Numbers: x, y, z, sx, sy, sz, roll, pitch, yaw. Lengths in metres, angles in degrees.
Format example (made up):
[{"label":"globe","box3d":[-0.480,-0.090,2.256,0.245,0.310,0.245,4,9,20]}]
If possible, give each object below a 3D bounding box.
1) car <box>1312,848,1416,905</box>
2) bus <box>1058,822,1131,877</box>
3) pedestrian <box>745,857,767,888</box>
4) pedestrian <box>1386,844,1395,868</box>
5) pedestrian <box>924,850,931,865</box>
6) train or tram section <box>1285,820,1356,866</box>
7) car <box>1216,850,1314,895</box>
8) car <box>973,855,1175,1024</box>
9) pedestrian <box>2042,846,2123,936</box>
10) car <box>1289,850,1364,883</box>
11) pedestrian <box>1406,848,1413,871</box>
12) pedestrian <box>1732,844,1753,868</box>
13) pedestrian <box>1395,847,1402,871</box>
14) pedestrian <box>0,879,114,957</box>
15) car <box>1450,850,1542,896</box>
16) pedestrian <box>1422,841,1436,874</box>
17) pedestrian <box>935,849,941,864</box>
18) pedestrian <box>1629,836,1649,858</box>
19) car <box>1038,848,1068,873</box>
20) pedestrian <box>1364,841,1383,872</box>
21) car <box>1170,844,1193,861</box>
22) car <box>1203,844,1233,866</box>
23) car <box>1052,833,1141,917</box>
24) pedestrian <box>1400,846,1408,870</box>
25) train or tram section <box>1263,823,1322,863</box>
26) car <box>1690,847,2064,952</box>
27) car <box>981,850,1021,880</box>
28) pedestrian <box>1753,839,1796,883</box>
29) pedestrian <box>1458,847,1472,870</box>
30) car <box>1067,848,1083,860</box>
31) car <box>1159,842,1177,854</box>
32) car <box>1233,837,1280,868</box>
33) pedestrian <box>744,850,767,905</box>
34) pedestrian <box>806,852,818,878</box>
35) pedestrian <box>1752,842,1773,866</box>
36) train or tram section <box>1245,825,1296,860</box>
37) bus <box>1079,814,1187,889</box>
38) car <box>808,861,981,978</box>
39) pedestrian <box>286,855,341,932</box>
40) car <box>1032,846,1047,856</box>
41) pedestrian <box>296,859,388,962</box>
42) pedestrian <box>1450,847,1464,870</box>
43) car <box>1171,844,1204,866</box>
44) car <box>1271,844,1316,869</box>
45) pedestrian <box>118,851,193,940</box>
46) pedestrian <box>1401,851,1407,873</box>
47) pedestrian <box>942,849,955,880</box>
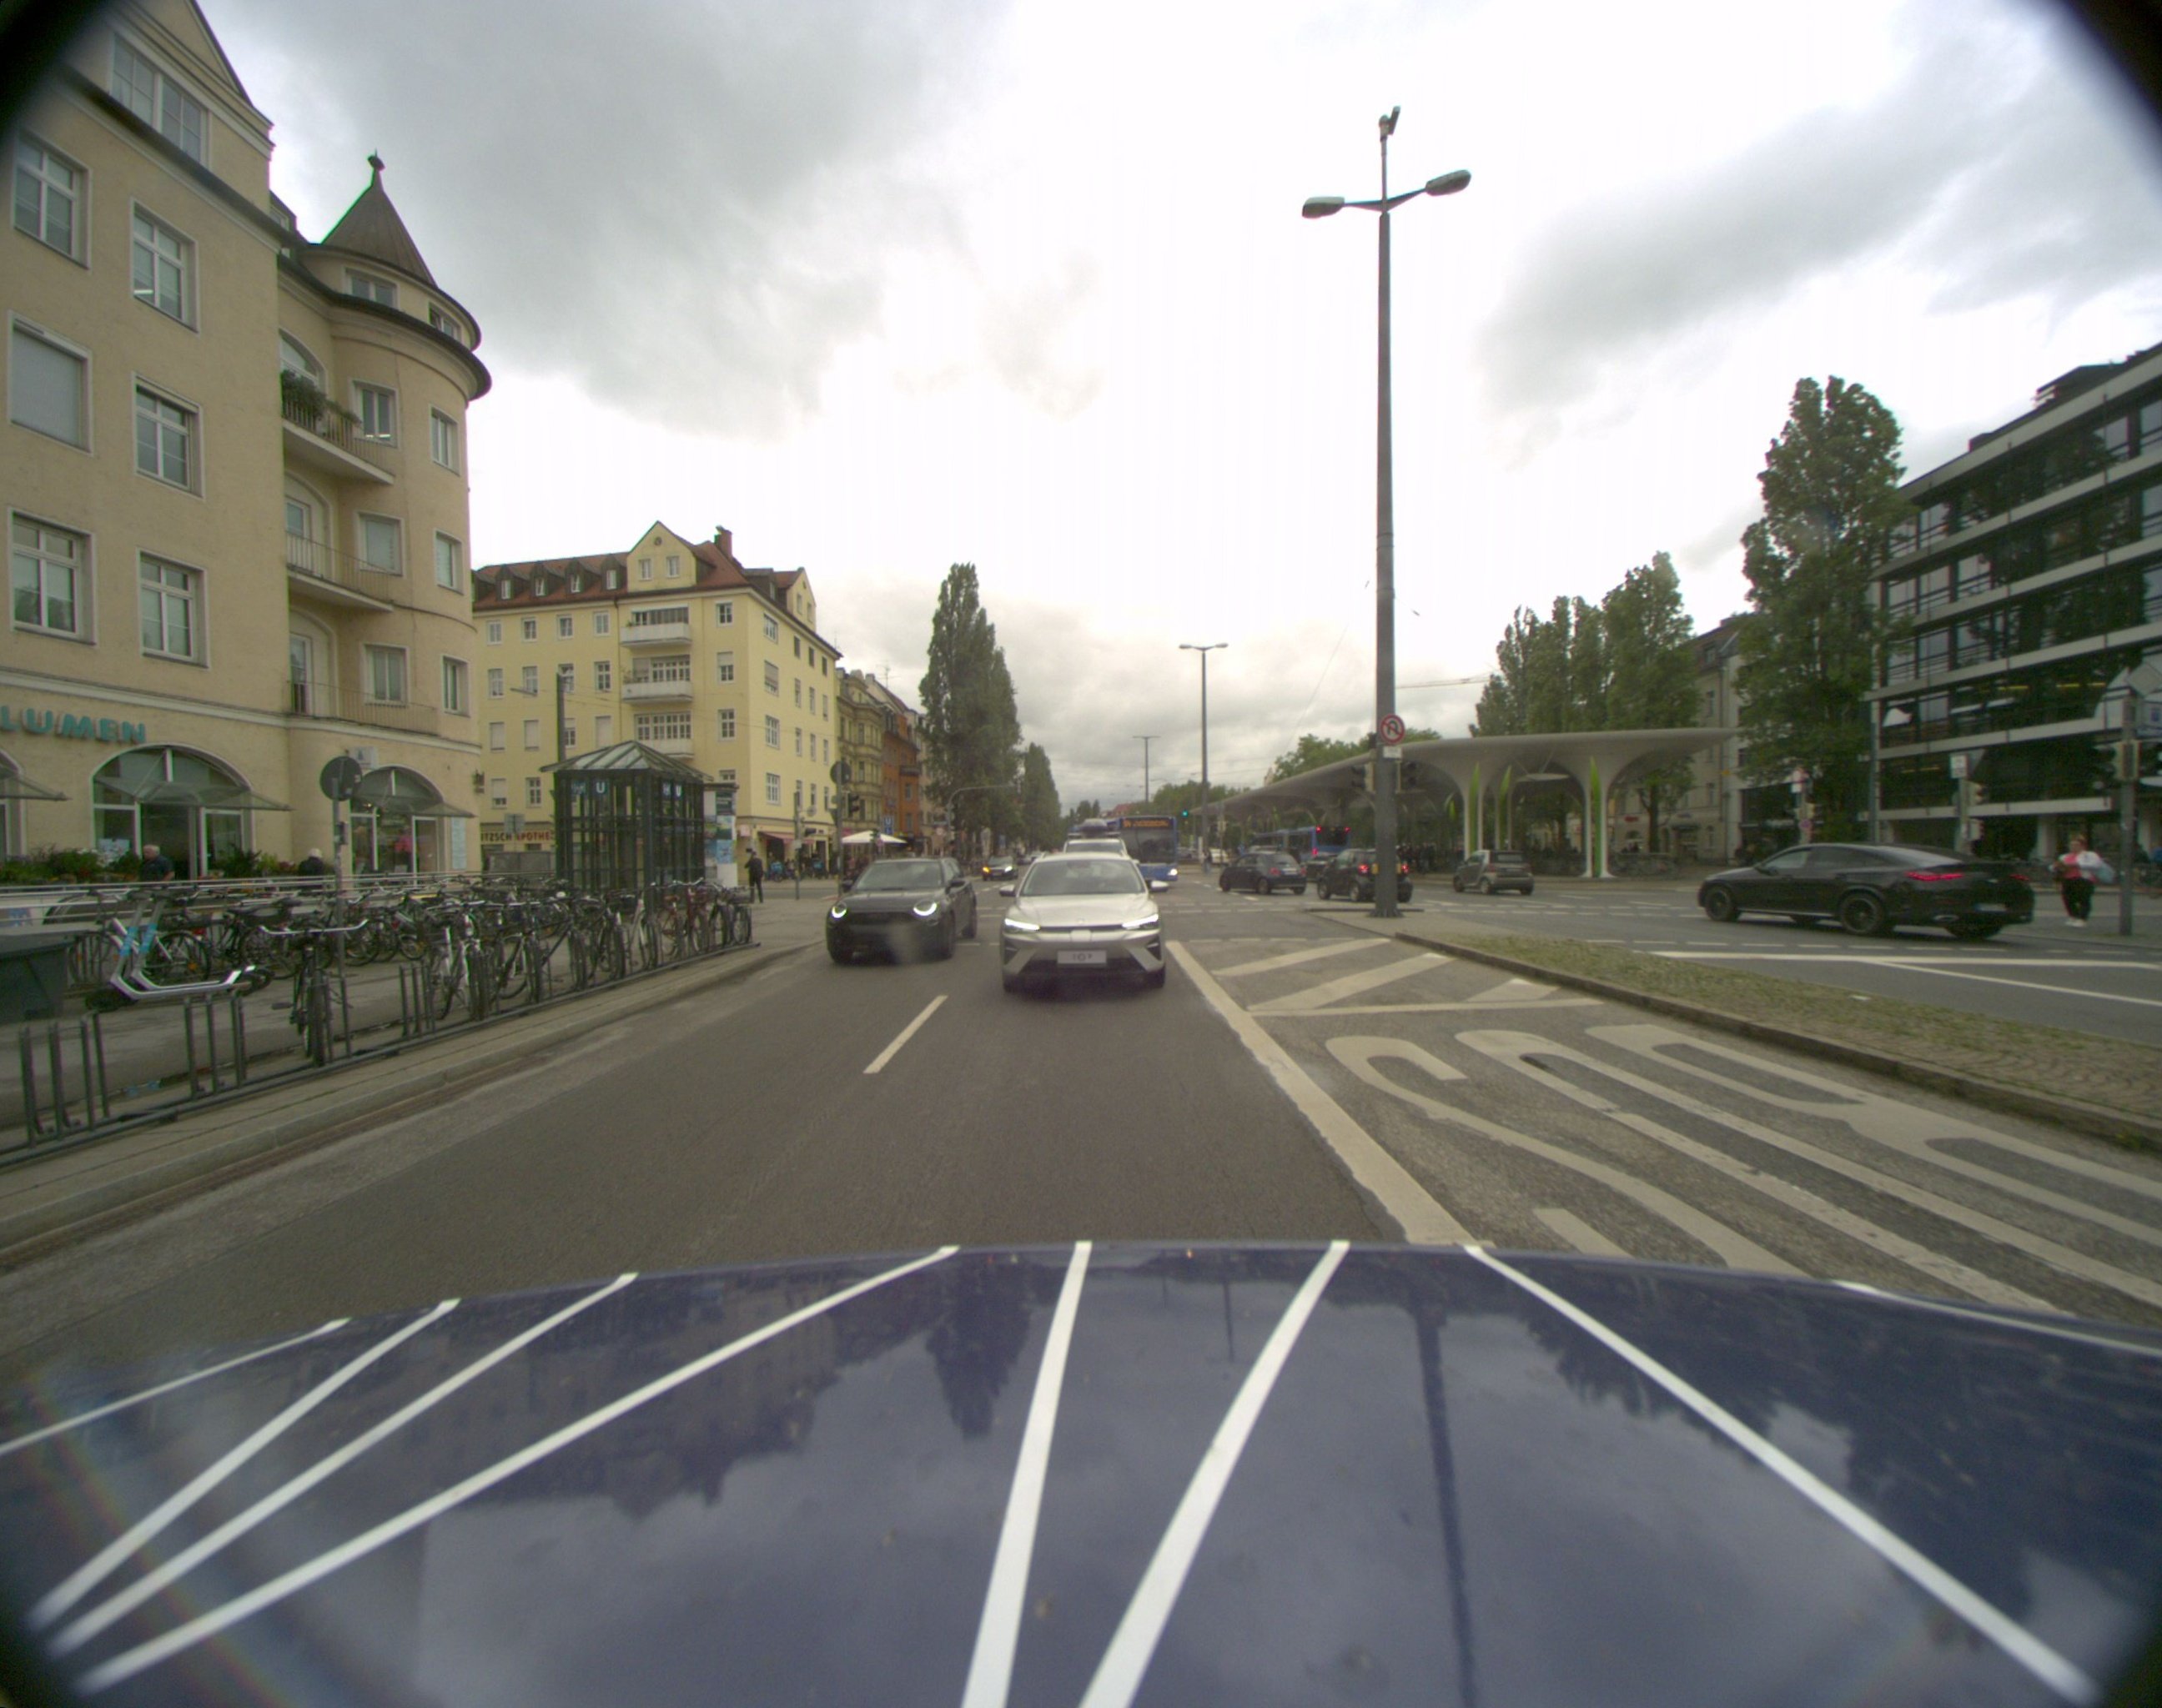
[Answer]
[{"label":"car","box3d":[8.153,0.605,22.098,1.562,1.498,2.785,-1,1,-12]},{"label":"bus","box3d":[0.575,-0.348,47.673,2.943,2.927,11.204,-2,1,-7]},{"label":"pedestrian","box3d":[-17.280,0.969,40.433,0.714,1.558,0.832,-2,2,1]},{"label":"pedestrian","box3d":[19.004,0.133,46.685,0.426,1.494,0.490,0,1,34]},{"label":"pedestrian","box3d":[-16.839,0.348,83.334,0.552,1.675,0.585,0,1,2]},{"label":"train or tram section","box3d":[16.801,-0.740,53.853,2.840,2.983,7.407,-1,1,1]},{"label":"car","box3d":[6.386,0.595,26.696,1.630,1.471,3.381,0,0,-24]},{"label":"car","box3d":[-0.002,0.838,9.344,1.896,1.483,3.999,-2,1,2]},{"label":"pedestrian","box3d":[18.063,0.646,13.708,0.640,1.543,0.759,-3,2,-24]},{"label":"car","box3d":[11.354,0.552,35.472,1.998,1.408,4.615,-1,1,0]},{"label":"pedestrian","box3d":[19.895,0.342,46.060,0.303,1.369,0.270,-1,1,-1]},{"label":"pedestrian","box3d":[45.415,0.131,52.169,0.834,1.689,0.906,0,1,23]},{"label":"pedestrian","box3d":[19.412,0.293,46.461,0.320,1.494,0.317,-1,1,-8]},{"label":"pedestrian","box3d":[-17.721,1.086,13.161,0.701,1.238,0.919,-1,2,0]},{"label":"car","box3d":[14.410,0.610,26.532,1.674,1.506,2.746,-1,1,-1]},{"label":"pedestrian","box3d":[19.426,0.192,42.406,0.666,1.840,0.789,0,1,21]},{"label":"pedestrian","box3d":[-15.878,0.287,84.456,0.552,1.675,0.585,0,1,2]},{"label":"pedestrian","box3d":[45.464,-0.576,61.901,0.984,1.762,0.951,-1,1,-27]},{"label":"car","box3d":[-2.114,0.436,58.096,1.998,1.740,3.999,-2,1,1]},{"label":"pedestrian","box3d":[16.325,0.146,42.421,0.711,1.738,0.788,0,1,0]},{"label":"car","box3d":[10.384,-0.169,78.594,1.847,1.674,3.999,-2,1,2]},{"label":"car","box3d":[11.044,0.044,61.378,1.760,1.674,3.999,-2,1,2]},{"label":"car","box3d":[0.402,0.444,19.800,1.998,1.889,4.235,-2,1,1]},{"label":"pedestrian","box3d":[19.739,0.234,46.423,0.334,1.494,0.317,-1,1,-8]},{"label":"train or tram section","box3d":[16.909,-0.886,61.247,2.840,2.983,7.407,-1,1,1]},{"label":"car","box3d":[13.773,0.659,13.706,1.998,1.567,4.617,0,1,2]},{"label":"car","box3d":[-4.794,0.640,46.130,1.854,1.615,3.999,-2,1,1]},{"label":"pedestrian","box3d":[28.304,0.294,31.047,0.861,1.767,0.980,-1,1,2]},{"label":"pedestrian","box3d":[22.749,0.253,44.979,0.549,1.330,0.592,-1,1,0]},{"label":"car","box3d":[-0.805,-0.045,102.357,1.999,1.630,3.999,-1,1,-1]},{"label":"car","box3d":[11.296,-0.818,99.098,1.847,1.529,3.999,-2,1,1]},{"label":"car","box3d":[10.644,-0.145,46.433,1.998,1.762,4.306,1,1,2]},{"label":"pedestrian","box3d":[-10.711,0.760,25.038,0.641,1.767,0.609,-2,1,-22]},{"label":"pedestrian","box3d":[-17.412,0.681,49.127,0.685,1.657,0.622,-1,1,-20]},{"label":"pedestrian","box3d":[48.618,0.001,54.238,0.800,1.714,0.827,0,1,12]},{"label":"train or tram section","box3d":[17.003,-1.034,68.654,2.840,2.983,7.407,-1,1,1]},{"label":"bus","box3d":[2.066,-0.181,36.013,2.943,2.927,11.204,-2,1,-7]},{"label":"car","box3d":[-2.787,0.907,12.309,1.740,1.462,4.050,-2,1,0]},{"label":"pedestrian","box3d":[-17.247,0.871,17.084,0.566,1.691,0.590,-1,2,0]},{"label":"car","box3d":[-6.479,-0.468,118.441,1.998,1.630,4.000,-1,1,1]},{"label":"pedestrian","box3d":[-12.574,0.938,12.954,0.809,1.682,0.755,-1,1,-13]},{"label":"pedestrian","box3d":[22.178,0.279,44.866,0.549,1.330,0.592,-1,1,0]},{"label":"car","box3d":[7.730,0.062,55.308,1.922,1.461,3.999,-2,1,2]},{"label":"car","box3d":[14.051,0.139,50.472,1.932,1.576,4.000,-1,1,1]},{"label":"pedestrian","box3d":[-18.474,0.812,15.183,0.618,1.729,0.644,-1,2,0]},{"label":"pedestrian","box3d":[19.532,0.493,45.998,0.316,1.335,0.339,0,1,18]},{"label":"pedestrian","box3d":[-7.680,0.600,44.022,0.732,1.792,0.710,-1,3,-8]}]
